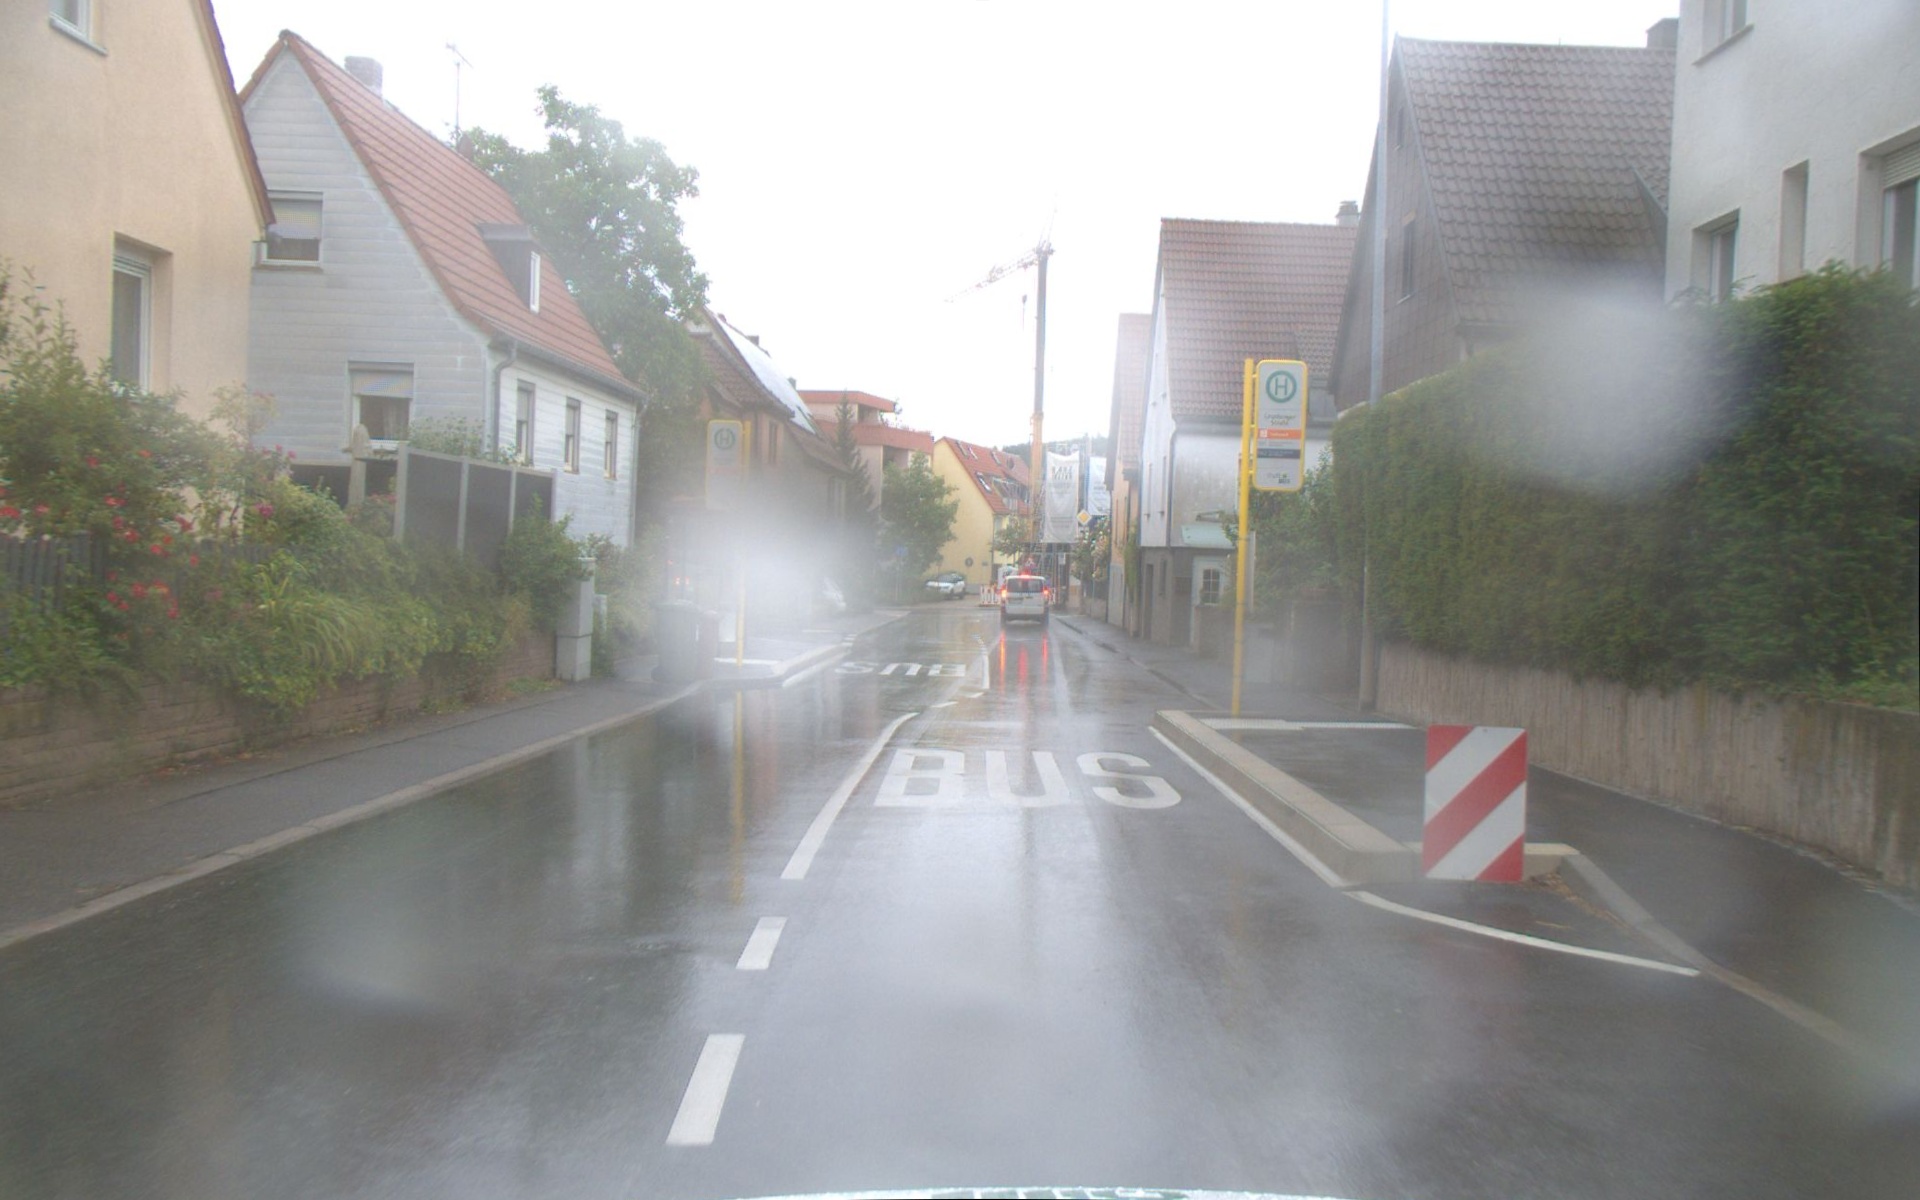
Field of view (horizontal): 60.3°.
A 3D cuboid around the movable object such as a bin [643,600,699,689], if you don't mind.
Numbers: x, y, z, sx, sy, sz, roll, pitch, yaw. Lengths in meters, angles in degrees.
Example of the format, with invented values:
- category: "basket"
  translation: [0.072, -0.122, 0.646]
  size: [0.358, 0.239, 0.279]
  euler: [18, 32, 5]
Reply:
- category: "movable object such as a bin"
  translation: [-3.793, 0.578, 21.727]
  size: [0.541, 1.101, 0.528]
  euler: [5, 1, 3]

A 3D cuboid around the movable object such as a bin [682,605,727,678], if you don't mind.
- category: "movable object such as a bin"
  translation: [-3.560, 0.574, 23.083]
  size: [0.458, 0.955, 0.455]
  euler: [5, 2, 3]

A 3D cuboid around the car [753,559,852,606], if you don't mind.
- category: "car"
  translation: [-6.004, -0.663, 63.188]
  size: [3.472, 1.555, 1.664]
  euler: [4, 0, 2]

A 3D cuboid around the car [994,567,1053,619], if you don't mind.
- category: "car"
  translation: [2.417, -0.264, 63.535]
  size: [2.136, 1.902, 4.000]
  euler: [1, 0, 1]

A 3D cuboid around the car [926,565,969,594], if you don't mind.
- category: "car"
  translation: [-0.767, -1.281, 103.789]
  size: [1.566, 1.707, 3.941]
  euler: [3, 2, 16]
